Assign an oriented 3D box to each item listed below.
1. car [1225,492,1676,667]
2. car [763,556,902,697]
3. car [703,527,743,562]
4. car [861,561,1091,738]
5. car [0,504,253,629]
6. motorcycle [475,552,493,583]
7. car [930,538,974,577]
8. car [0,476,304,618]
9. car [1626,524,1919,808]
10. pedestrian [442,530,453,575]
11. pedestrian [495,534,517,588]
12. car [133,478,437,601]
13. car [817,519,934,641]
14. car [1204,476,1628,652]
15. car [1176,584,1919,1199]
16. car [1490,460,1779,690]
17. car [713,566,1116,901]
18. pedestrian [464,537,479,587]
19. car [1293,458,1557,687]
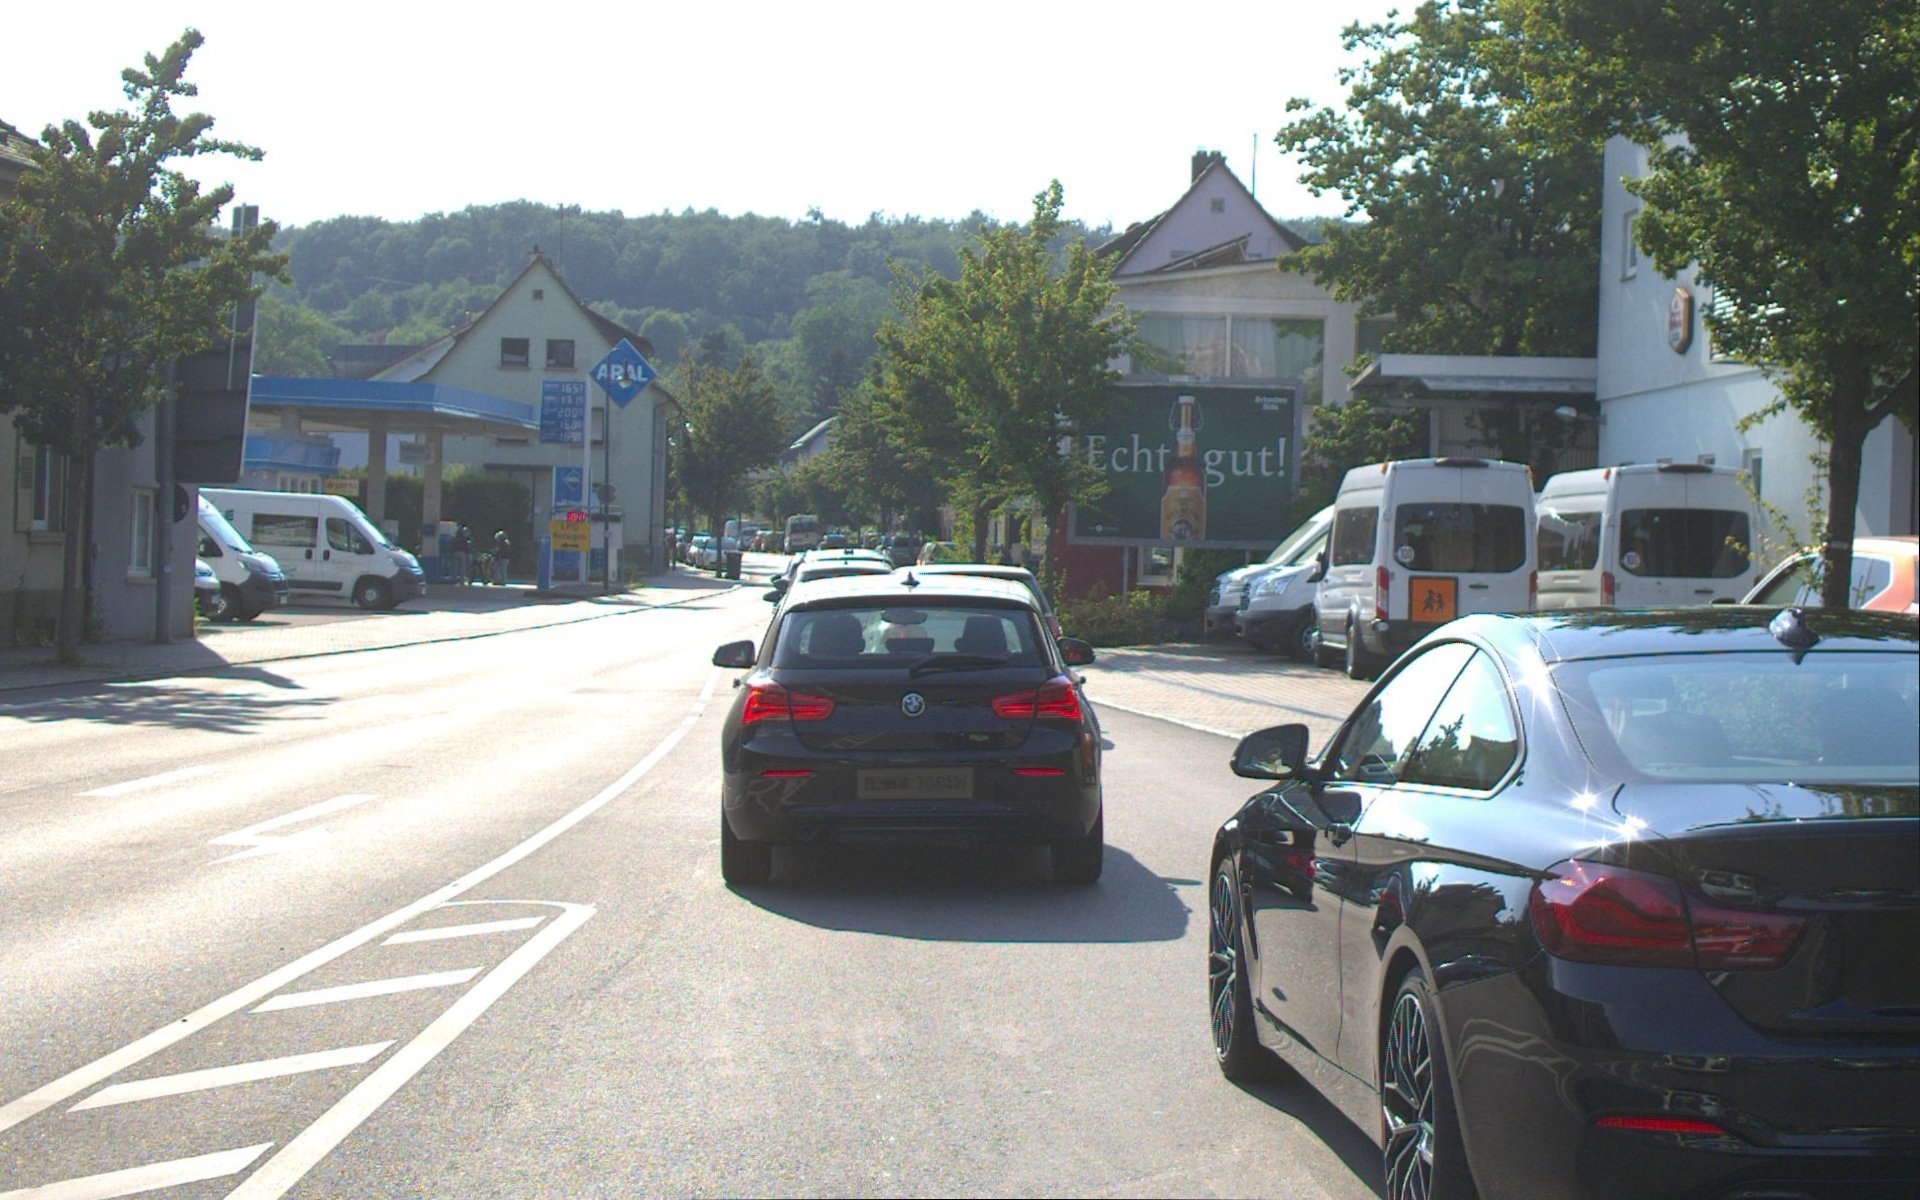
[{"bbox_3d":[6.946,-0.303,49.110,6.043,2.355,2.044,1,1,-3],"label":"car"},{"bbox_3d":[-1.564,0.286,42.233,1.591,1.595,3.894,1,1,-2],"label":"car"},{"bbox_3d":[-10.571,-2.475,153.490,1.597,1.480,3.475,2,1,-2],"label":"car"},{"bbox_3d":[0.086,0.395,30.427,1.753,1.409,3.422,1,1,-4],"label":"car"},{"bbox_3d":[-15.018,-0.611,59.780,4.976,1.992,1.935,2,1,2],"label":"car"},{"bbox_3d":[-14.649,-1.003,105.780,0.363,0.940,1.696,1,1,-3],"label":"motorcycle"},{"bbox_3d":[-0.341,-1.755,140.741,1.597,1.480,3.475,2,1,-2],"label":"car"},{"bbox_3d":[-15.718,-1.034,65.437,5.920,2.471,2.193,2,1,3],"label":"car"},{"bbox_3d":[5.988,0.358,22.285,1.834,1.643,4.539,1,1,-9],"label":"car"},{"bbox_3d":[-15.586,-1.438,104.529,0.287,1.362,0.263,1,1,-5],"label":"pedestrian"},{"bbox_3d":[-14.009,-1.200,106.130,0.610,1.664,0.442,1,1,-4],"label":"pedestrian"},{"bbox_3d":[-14.695,-1.333,75.093,6.158,2.436,2.250,2,1,-1],"label":"car"},{"bbox_3d":[-1.255,-0.326,52.074,1.603,1.761,3.411,1,1,1],"label":"car"},{"bbox_3d":[6.841,-0.554,52.006,6.043,2.507,2.044,1,1,-3],"label":"car"},{"bbox_3d":[1.635,0.691,8.179,1.699,1.364,4.263,0,1,-4],"label":"car"},{"bbox_3d":[8.573,-0.376,44.378,2.111,2.712,6.444,1,1,-3],"label":"car"},{"bbox_3d":[-0.205,0.574,16.974,1.771,1.451,3.516,1,1,0],"label":"car"},{"bbox_3d":[-15.100,-1.184,106.216,0.407,1.541,0.433,1,1,-4],"label":"pedestrian"},{"bbox_3d":[5.836,-0.403,44.078,2.149,2.671,6.604,1,1,-3],"label":"car"}]
